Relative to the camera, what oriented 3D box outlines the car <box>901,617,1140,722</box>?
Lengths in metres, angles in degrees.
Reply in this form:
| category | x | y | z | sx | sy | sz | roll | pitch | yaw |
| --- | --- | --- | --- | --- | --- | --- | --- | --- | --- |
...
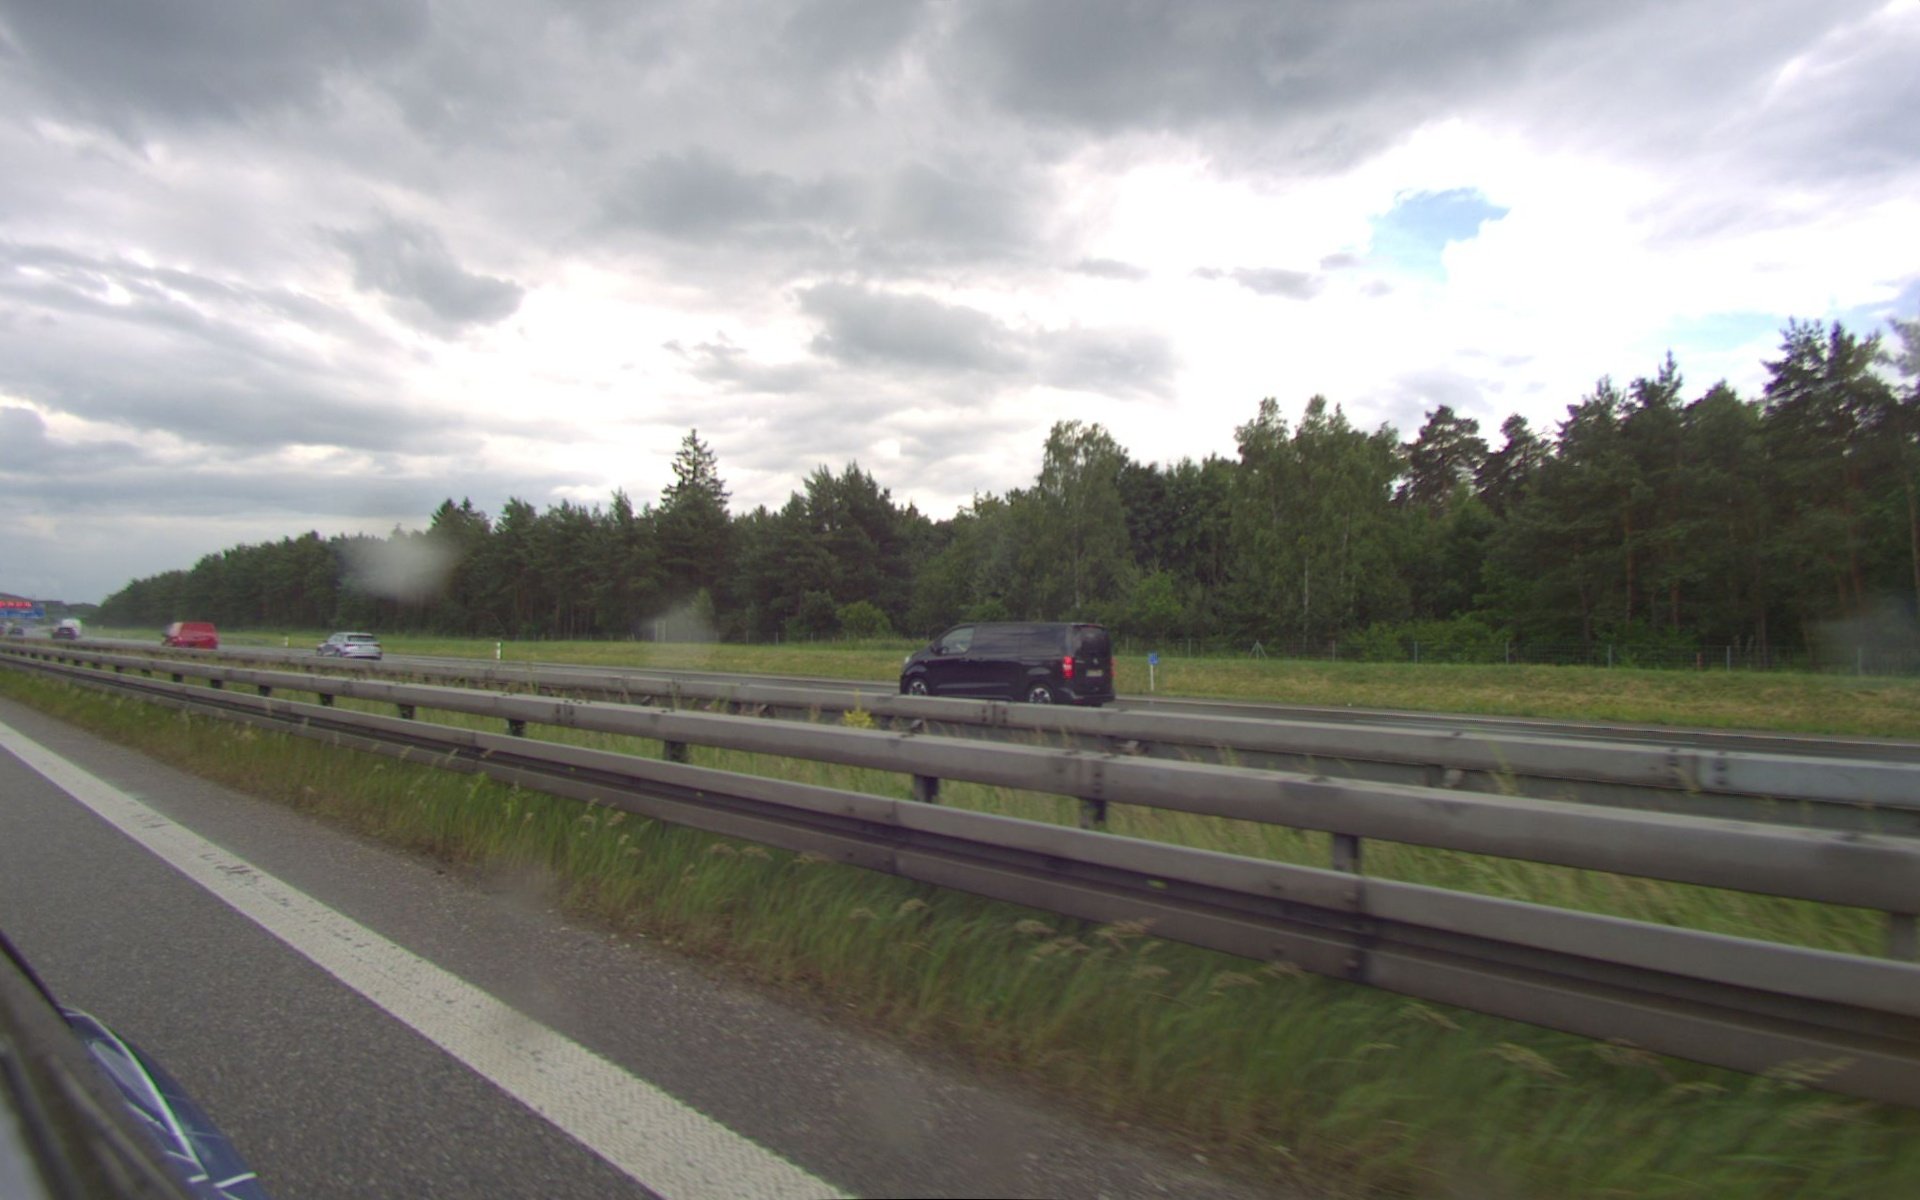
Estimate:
| category | x | y | z | sx | sy | sz | roll | pitch | yaw |
| --- | --- | --- | --- | --- | --- | --- | --- | --- | --- |
| car | 1.161 | 1.382 | 20.986 | 4.721 | 1.931 | 1.973 | -1 | -4 | 41 |

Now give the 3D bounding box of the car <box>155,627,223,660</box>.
| category | x | y | z | sx | sy | sz | roll | pitch | yaw |
| --- | --- | --- | --- | --- | --- | --- | --- | --- | --- |
| car | -40.111 | 2.208 | 52.582 | 4.607 | 1.621 | 1.972 | -1 | -1 | 42 |

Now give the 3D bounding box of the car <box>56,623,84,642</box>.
| category | x | y | z | sx | sy | sz | roll | pitch | yaw |
| --- | --- | --- | --- | --- | --- | --- | --- | --- | --- |
| car | -124.994 | 4.610 | 142.112 | 6.583 | 2.530 | 2.075 | -2 | -4 | 42 |

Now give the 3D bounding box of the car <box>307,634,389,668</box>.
| category | x | y | z | sx | sy | sz | roll | pitch | yaw |
| --- | --- | --- | --- | --- | --- | --- | --- | --- | --- |
| car | -28.697 | 2.373 | 47.386 | 4.607 | 1.512 | 1.972 | -1 | -4 | 42 |

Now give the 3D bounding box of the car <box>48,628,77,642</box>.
| category | x | y | z | sx | sy | sz | roll | pitch | yaw |
| --- | --- | --- | --- | --- | --- | --- | --- | --- | --- |
| car | -100.990 | 3.949 | 113.862 | 3.997 | 1.483 | 1.855 | -1 | -3 | 41 |
